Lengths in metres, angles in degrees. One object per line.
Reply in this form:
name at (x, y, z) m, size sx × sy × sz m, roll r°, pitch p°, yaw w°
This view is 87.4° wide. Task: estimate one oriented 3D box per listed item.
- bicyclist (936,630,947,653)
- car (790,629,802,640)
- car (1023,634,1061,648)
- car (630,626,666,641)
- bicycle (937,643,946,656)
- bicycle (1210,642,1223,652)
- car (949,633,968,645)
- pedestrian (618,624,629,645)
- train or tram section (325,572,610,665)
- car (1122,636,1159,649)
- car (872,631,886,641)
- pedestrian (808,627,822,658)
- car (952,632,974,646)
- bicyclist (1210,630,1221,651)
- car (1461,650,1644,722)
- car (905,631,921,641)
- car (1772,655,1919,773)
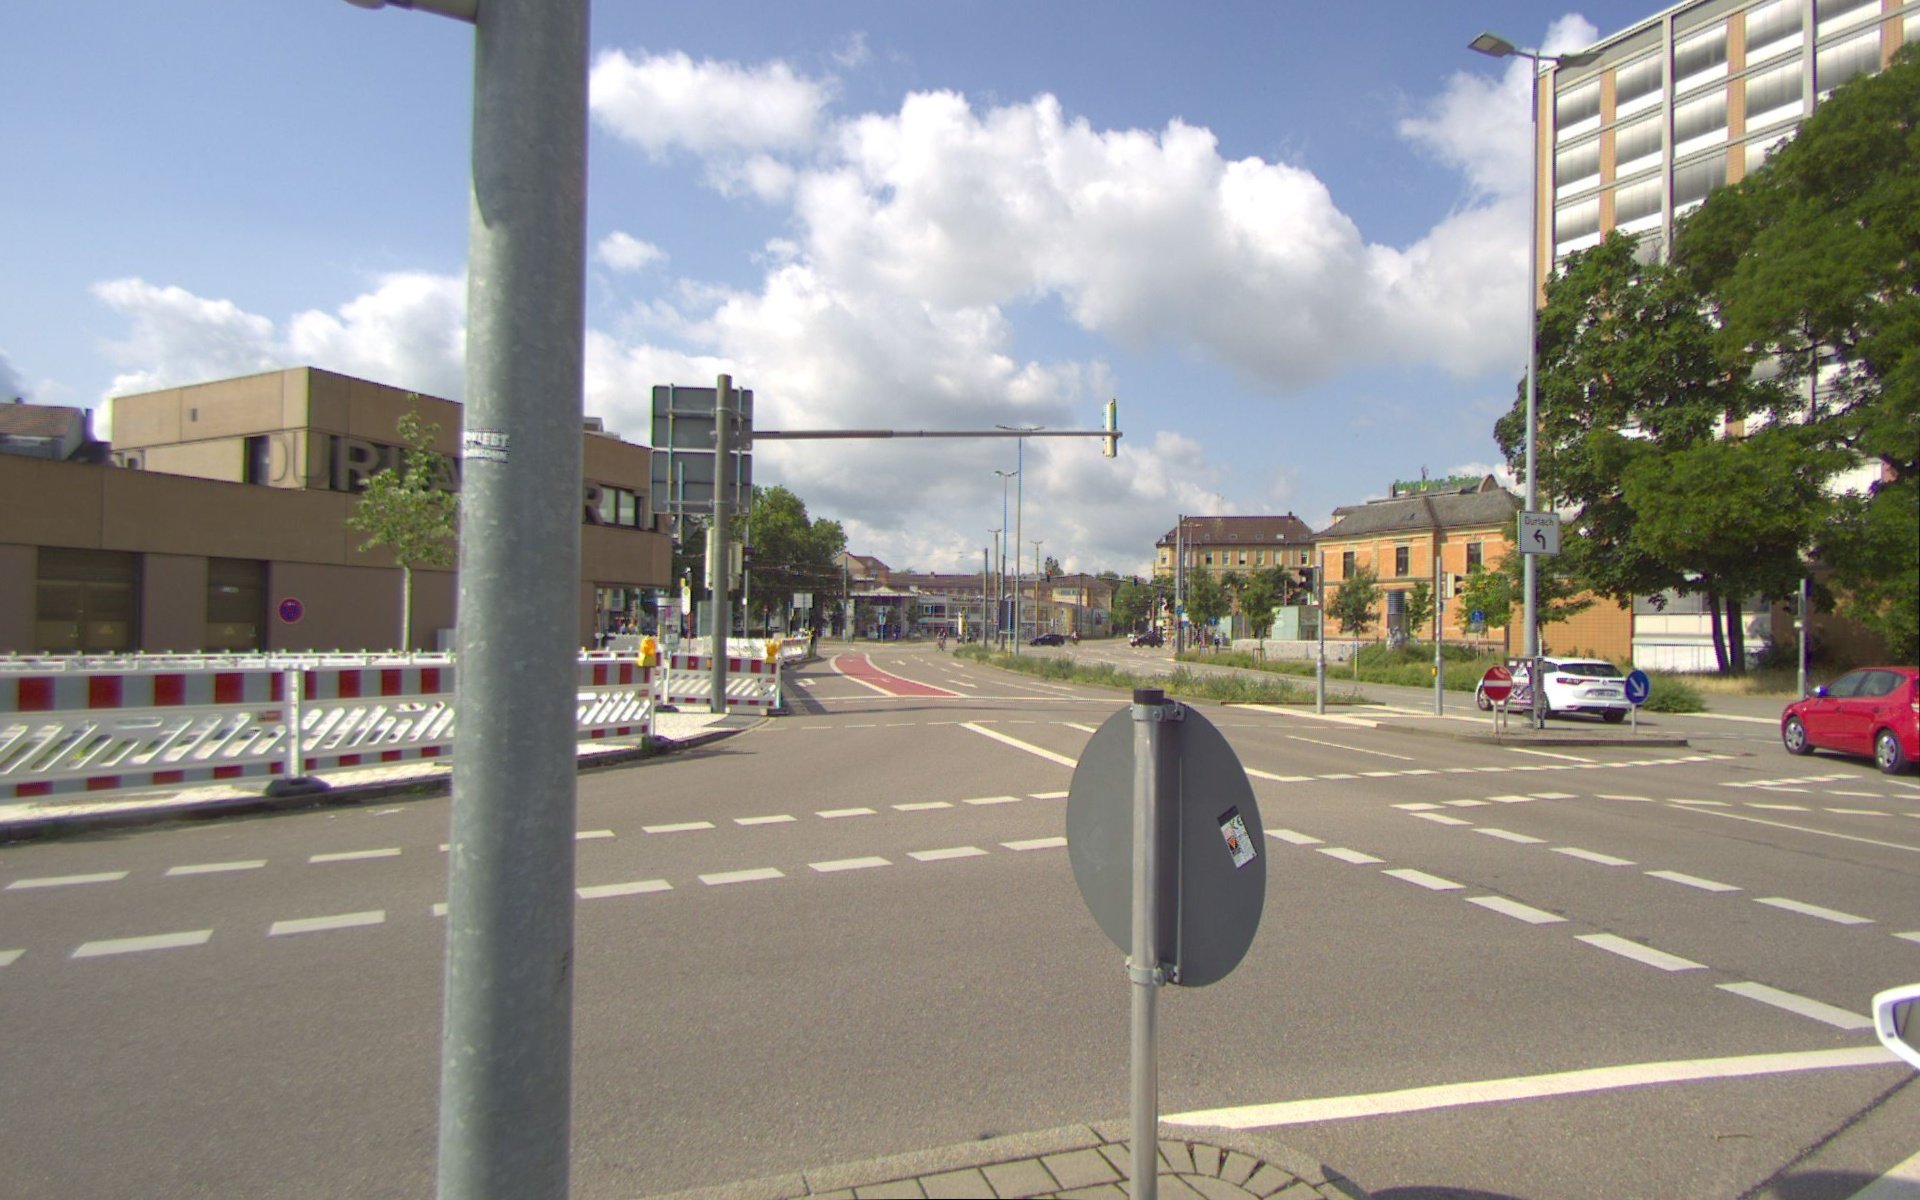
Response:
bicyclist at (-1.492, 3.372, 82.143) m, size 0.797 × 1.846 × 1.160 m, roll 1°, pitch -2°, yaw 4°
car at (-27.525, 5.784, 168.573) m, size 1.771 × 1.792 × 3.995 m, roll 1°, pitch -2°, yaw -9°
car at (9.443, 4.682, 115.342) m, size 4.017 × 1.528 × 1.807 m, roll 2°, pitch -2°, yaw -19°
car at (-36.958, 3.924, 119.006) m, size 3.943 × 1.684 × 1.989 m, roll 2°, pitch -2°, yaw -23°
bicycle at (-1.527, 4.061, 82.172) m, size 0.606 × 1.015 × 2.019 m, roll 1°, pitch -2°, yaw 3°
bicycle at (21.248, 3.863, 83.235) m, size 0.614 × 0.821 × 1.789 m, roll 0°, pitch -2°, yaw 2°
car at (-0.178, 5.113, 132.257) m, size 1.959 × 1.550 × 4.003 m, roll 0°, pitch -2°, yaw 7°
pedestrian at (-30.077, 3.058, 89.824) m, size 0.687 × 1.884 × 0.819 m, roll 1°, pitch -1°, yaw -3°
train or tram section at (-21.344, 0.949, 44.984) m, size 2.618 × 3.619 × 12.403 m, roll 0°, pitch -2°, yaw 26°
car at (21.716, 5.130, 120.635) m, size 4.017 × 1.528 × 1.807 m, roll 1°, pitch -2°, yaw -19°
car at (-13.492, 5.965, 167.472) m, size 1.964 × 1.572 × 4.072 m, roll 2°, pitch -2°, yaw -9°
pedestrian at (-7.999, 2.345, 55.552) m, size 0.724 × 1.703 × 0.640 m, roll 1°, pitch -2°, yaw -7°
car at (0.412, 5.123, 131.473) m, size 1.814 × 1.742 × 4.002 m, roll 0°, pitch -2°, yaw 15°
bicyclist at (21.190, 3.375, 83.315) m, size 0.723 × 1.724 × 0.966 m, roll -1°, pitch -1°, yaw 1°
car at (14.196, 2.017, 24.403) m, size 1.818 × 1.491 × 4.335 m, roll 1°, pitch -2°, yaw -2°
car at (-7.992, 6.008, 169.340) m, size 1.966 × 1.617 × 3.989 m, roll 2°, pitch -2°, yaw -14°
car at (13.813, 1.604, 14.649) m, size 1.786 × 1.458 × 4.068 m, roll 2°, pitch -2°, yaw 20°
